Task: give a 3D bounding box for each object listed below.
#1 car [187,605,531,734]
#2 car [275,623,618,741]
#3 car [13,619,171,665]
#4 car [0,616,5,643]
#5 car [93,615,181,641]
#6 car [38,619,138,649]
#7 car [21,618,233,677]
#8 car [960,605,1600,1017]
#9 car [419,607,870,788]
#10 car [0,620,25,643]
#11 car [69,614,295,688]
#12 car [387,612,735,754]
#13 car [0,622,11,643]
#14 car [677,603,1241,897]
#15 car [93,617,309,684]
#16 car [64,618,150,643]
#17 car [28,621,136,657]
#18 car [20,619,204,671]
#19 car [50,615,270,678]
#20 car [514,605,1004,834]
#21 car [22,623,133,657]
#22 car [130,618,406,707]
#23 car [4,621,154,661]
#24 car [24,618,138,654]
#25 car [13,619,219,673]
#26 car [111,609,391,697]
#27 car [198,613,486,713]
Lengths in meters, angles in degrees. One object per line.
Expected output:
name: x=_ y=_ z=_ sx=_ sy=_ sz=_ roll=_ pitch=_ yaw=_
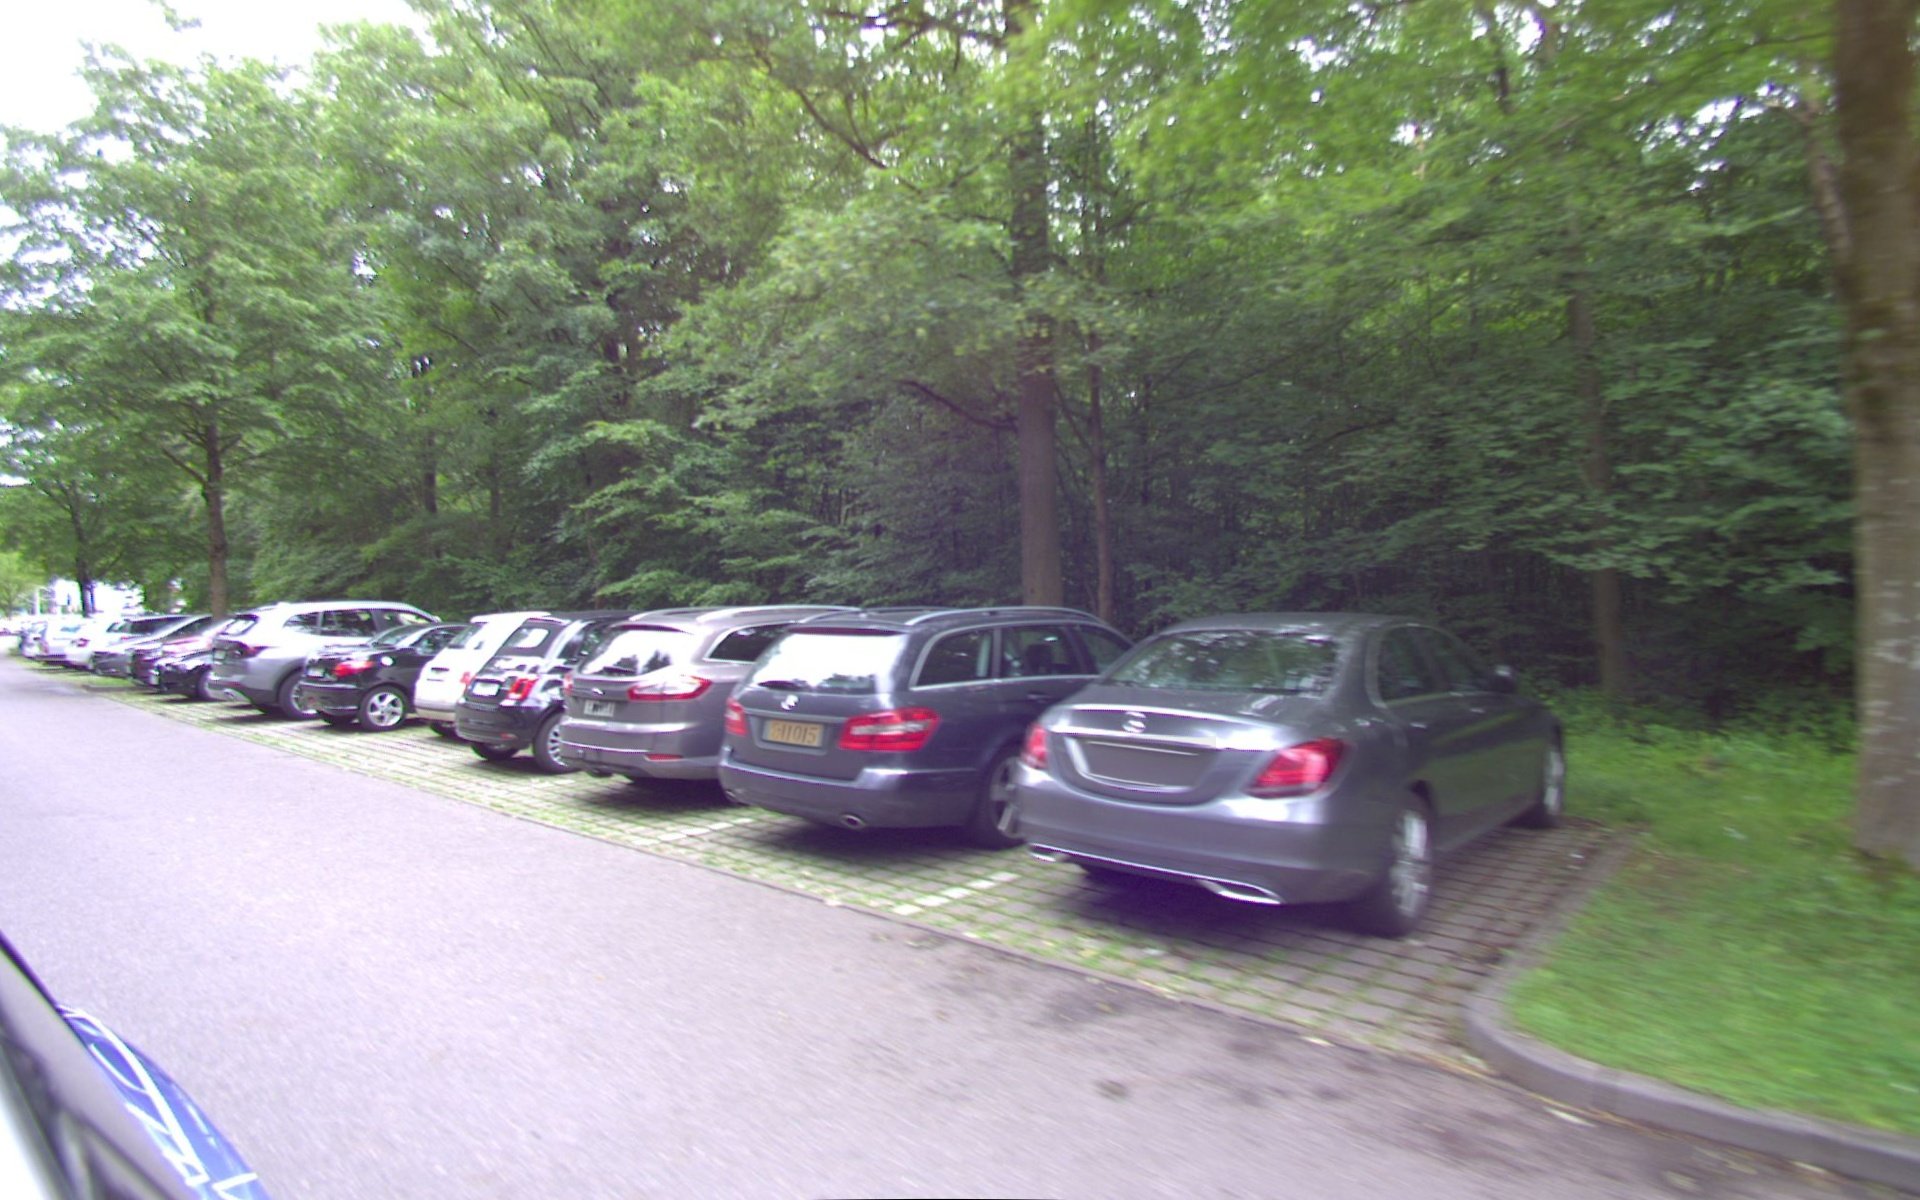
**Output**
car: x=-9.182 y=0.945 z=15.698 sx=2.029 sy=1.645 sz=4.180 roll=-1 pitch=0 yaw=42
car: x=-7.097 y=1.046 z=14.303 sx=1.808 sy=1.320 sz=3.940 roll=-2 pitch=-1 yaw=39
car: x=-31.045 y=1.460 z=36.252 sx=4.215 sy=1.497 sz=2.060 roll=0 pitch=-1 yaw=-43
car: x=-73.762 y=2.277 z=74.496 sx=4.584 sy=2.036 sz=2.089 roll=-3 pitch=-1 yaw=-29
car: x=-64.011 y=2.143 z=78.845 sx=5.014 sy=1.930 sz=1.984 roll=0 pitch=-1 yaw=-28
car: x=-48.705 y=1.872 z=56.621 sx=4.180 sy=1.545 sz=1.765 roll=0 pitch=-1 yaw=-40
car: x=-23.838 y=1.306 z=29.084 sx=1.870 sy=1.497 sz=4.512 roll=-1 pitch=-1 yaw=43
car: x=2.088 y=0.770 z=5.773 sx=1.964 sy=1.442 sz=4.065 roll=-1 pitch=-1 yaw=42
car: x=-3.209 y=0.870 z=10.999 sx=1.837 sy=1.500 sz=4.353 roll=-1 pitch=0 yaw=42
car: x=-76.399 y=2.507 z=79.017 sx=4.456 sy=1.706 sz=2.172 roll=-1 pitch=0 yaw=-24
car: x=-18.460 y=1.146 z=24.139 sx=1.918 sy=1.567 sz=3.992 roll=-1 pitch=-1 yaw=41
car: x=-4.945 y=0.937 z=12.974 sx=1.658 sy=1.462 sz=3.827 roll=-2 pitch=-1 yaw=39
car: x=-75.112 y=2.558 z=76.852 sx=3.941 sy=1.567 sz=1.953 roll=-2 pitch=-1 yaw=-23
car: x=0.248 y=0.788 z=7.403 sx=1.995 sy=1.491 sz=4.068 roll=-1 pitch=-1 yaw=40
car: x=-19.697 y=1.249 z=26.429 sx=1.844 sy=1.562 sz=4.195 roll=-1 pitch=-1 yaw=37
car: x=-59.255 y=2.095 z=70.395 sx=4.295 sy=1.610 sz=2.037 roll=0 pitch=-1 yaw=-32
car: x=-37.702 y=1.641 z=43.513 sx=3.423 sy=1.492 sz=1.686 roll=1 pitch=-1 yaw=-42
car: x=-27.338 y=1.400 z=32.739 sx=1.890 sy=1.497 sz=4.321 roll=-1 pitch=-1 yaw=40
car: x=-21.934 y=1.215 z=27.893 sx=1.940 sy=1.497 sz=4.515 roll=-1 pitch=0 yaw=41
car: x=-1.557 y=0.833 z=9.062 sx=1.927 sy=1.535 sz=4.050 roll=-1 pitch=-1 yaw=38
car: x=-39.375 y=1.753 z=45.223 sx=3.681 sy=1.430 sz=1.874 roll=0 pitch=-1 yaw=-42
car: x=-12.824 y=1.081 z=18.935 sx=1.785 sy=1.374 sz=3.946 roll=-1 pitch=0 yaw=40
car: x=-34.588 y=1.572 z=39.812 sx=4.352 sy=1.435 sz=2.037 roll=0 pitch=-1 yaw=-43
car: x=-42.345 y=1.692 z=48.860 sx=3.906 sy=1.640 sz=2.004 roll=0 pitch=-1 yaw=-33
car: x=-25.510 y=1.346 z=30.731 sx=2.084 sy=1.458 sz=4.517 roll=-1 pitch=-1 yaw=39
car: x=-14.576 y=1.012 z=21.006 sx=1.926 sy=1.596 sz=4.467 roll=-1 pitch=-1 yaw=41
car: x=-10.690 y=1.008 z=17.687 sx=1.799 sy=1.476 sz=3.979 roll=-1 pitch=-1 yaw=43
